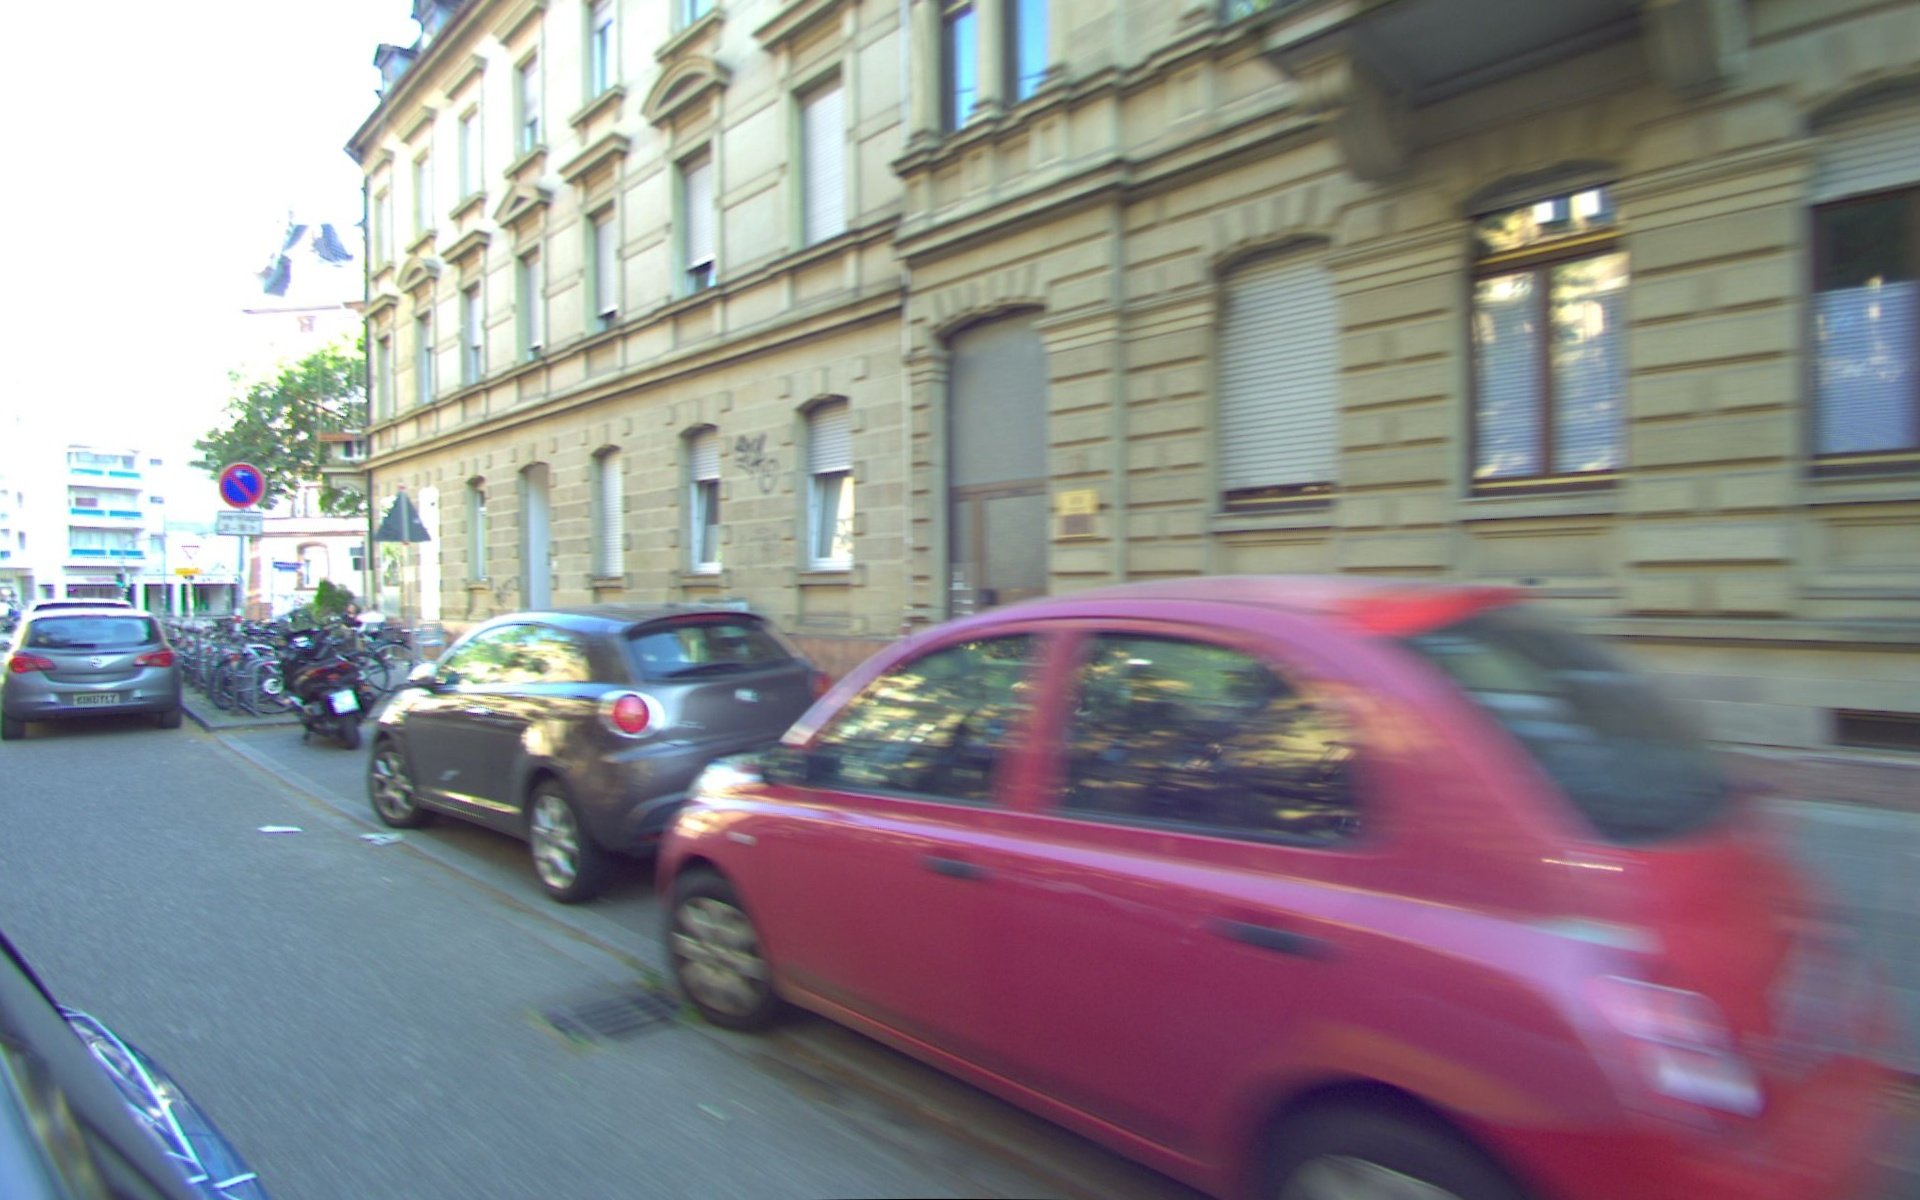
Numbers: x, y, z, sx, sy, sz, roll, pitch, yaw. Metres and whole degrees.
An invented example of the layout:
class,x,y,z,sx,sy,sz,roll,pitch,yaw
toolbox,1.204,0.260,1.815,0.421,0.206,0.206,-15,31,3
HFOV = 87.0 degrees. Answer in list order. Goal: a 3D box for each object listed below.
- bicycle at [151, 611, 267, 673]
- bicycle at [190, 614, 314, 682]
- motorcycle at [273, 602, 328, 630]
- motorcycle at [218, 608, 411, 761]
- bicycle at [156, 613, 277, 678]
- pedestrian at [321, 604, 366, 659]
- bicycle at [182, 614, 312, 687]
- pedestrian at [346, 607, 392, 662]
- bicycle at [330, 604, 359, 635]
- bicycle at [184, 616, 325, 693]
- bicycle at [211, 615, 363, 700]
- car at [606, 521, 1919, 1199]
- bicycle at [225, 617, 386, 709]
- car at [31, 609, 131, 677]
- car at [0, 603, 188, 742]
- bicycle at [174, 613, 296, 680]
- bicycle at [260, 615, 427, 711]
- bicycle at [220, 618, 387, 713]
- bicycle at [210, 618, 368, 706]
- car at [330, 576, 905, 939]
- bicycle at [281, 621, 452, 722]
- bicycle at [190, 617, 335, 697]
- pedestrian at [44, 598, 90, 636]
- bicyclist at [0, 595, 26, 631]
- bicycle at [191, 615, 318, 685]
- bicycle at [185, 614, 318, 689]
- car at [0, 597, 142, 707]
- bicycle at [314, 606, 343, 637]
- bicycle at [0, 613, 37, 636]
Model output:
class,x,y,z,sx,sy,sz,roll,pitch,yaw
bicycle,-15.446,0.848,20.847,1.845,1.137,0.529,-3,2,-43
bicycle,-13.468,0.886,19.295,1.845,1.137,0.529,-3,2,-43
motorcycle,-31.245,0.738,47.967,0.837,1.274,2.097,-1,1,20
motorcycle,-6.798,0.795,10.589,2.606,1.380,1.054,-1,1,43
bicycle,-14.645,0.865,19.962,1.845,1.137,0.529,-3,2,-43
pedestrian,-14.704,0.737,24.138,0.757,1.268,0.717,-1,0,43
bicycle,-12.589,0.868,17.935,0.525,1.137,1.860,-1,2,22
pedestrian,-13.608,0.773,23.318,0.757,1.223,0.717,0,1,43
bicycle,-25.343,0.778,41.665,0.539,1.205,2.963,-1,1,-41
bicycle,-11.747,0.879,16.902,0.529,1.137,1.846,0,2,45
bicycle,-10.298,0.853,15.545,0.529,1.137,1.846,0,2,45
car,0.512,0.632,3.046,1.574,1.486,3.703,-3,2,-43
bicycle,-9.362,0.865,14.536,0.529,1.137,1.846,0,2,45
car,-21.546,0.984,24.900,1.736,1.499,4.146,0,0,-40
car,-11.263,0.813,13.037,1.737,1.512,4.064,0,-1,-43
bicycle,-14.031,0.873,19.622,1.845,1.137,0.529,-3,2,-43
bicycle,-8.423,0.827,13.888,0.529,1.137,1.846,0,2,45
bicycle,-9.053,0.868,14.018,0.529,1.137,1.846,0,2,45
bicycle,-9.900,0.883,14.991,0.529,1.137,1.846,0,2,45
car,-2.379,0.683,6.377,4.061,1.512,1.739,-1,2,44
bicycle,-7.770,0.902,13.319,0.529,1.137,1.846,0,2,45
bicycle,-11.293,0.892,16.442,0.529,1.137,1.846,0,2,45
pedestrian,-39.889,0.751,45.227,0.998,1.692,1.168,-1,0,15
bicyclist,-42.700,0.580,45.328,0.628,1.565,1.076,-2,2,15
bicycle,-13.051,0.899,18.755,1.845,1.137,0.529,-3,2,-43
bicycle,-12.184,0.861,17.479,0.525,1.137,1.860,-1,2,22
car,-14.929,0.780,16.985,1.737,1.612,4.557,0,-1,-41
bicycle,-25.779,0.863,41.275,0.539,1.205,2.963,-1,1,-41
bicycle,-42.670,1.112,45.367,0.628,0.919,1.870,-2,2,15
